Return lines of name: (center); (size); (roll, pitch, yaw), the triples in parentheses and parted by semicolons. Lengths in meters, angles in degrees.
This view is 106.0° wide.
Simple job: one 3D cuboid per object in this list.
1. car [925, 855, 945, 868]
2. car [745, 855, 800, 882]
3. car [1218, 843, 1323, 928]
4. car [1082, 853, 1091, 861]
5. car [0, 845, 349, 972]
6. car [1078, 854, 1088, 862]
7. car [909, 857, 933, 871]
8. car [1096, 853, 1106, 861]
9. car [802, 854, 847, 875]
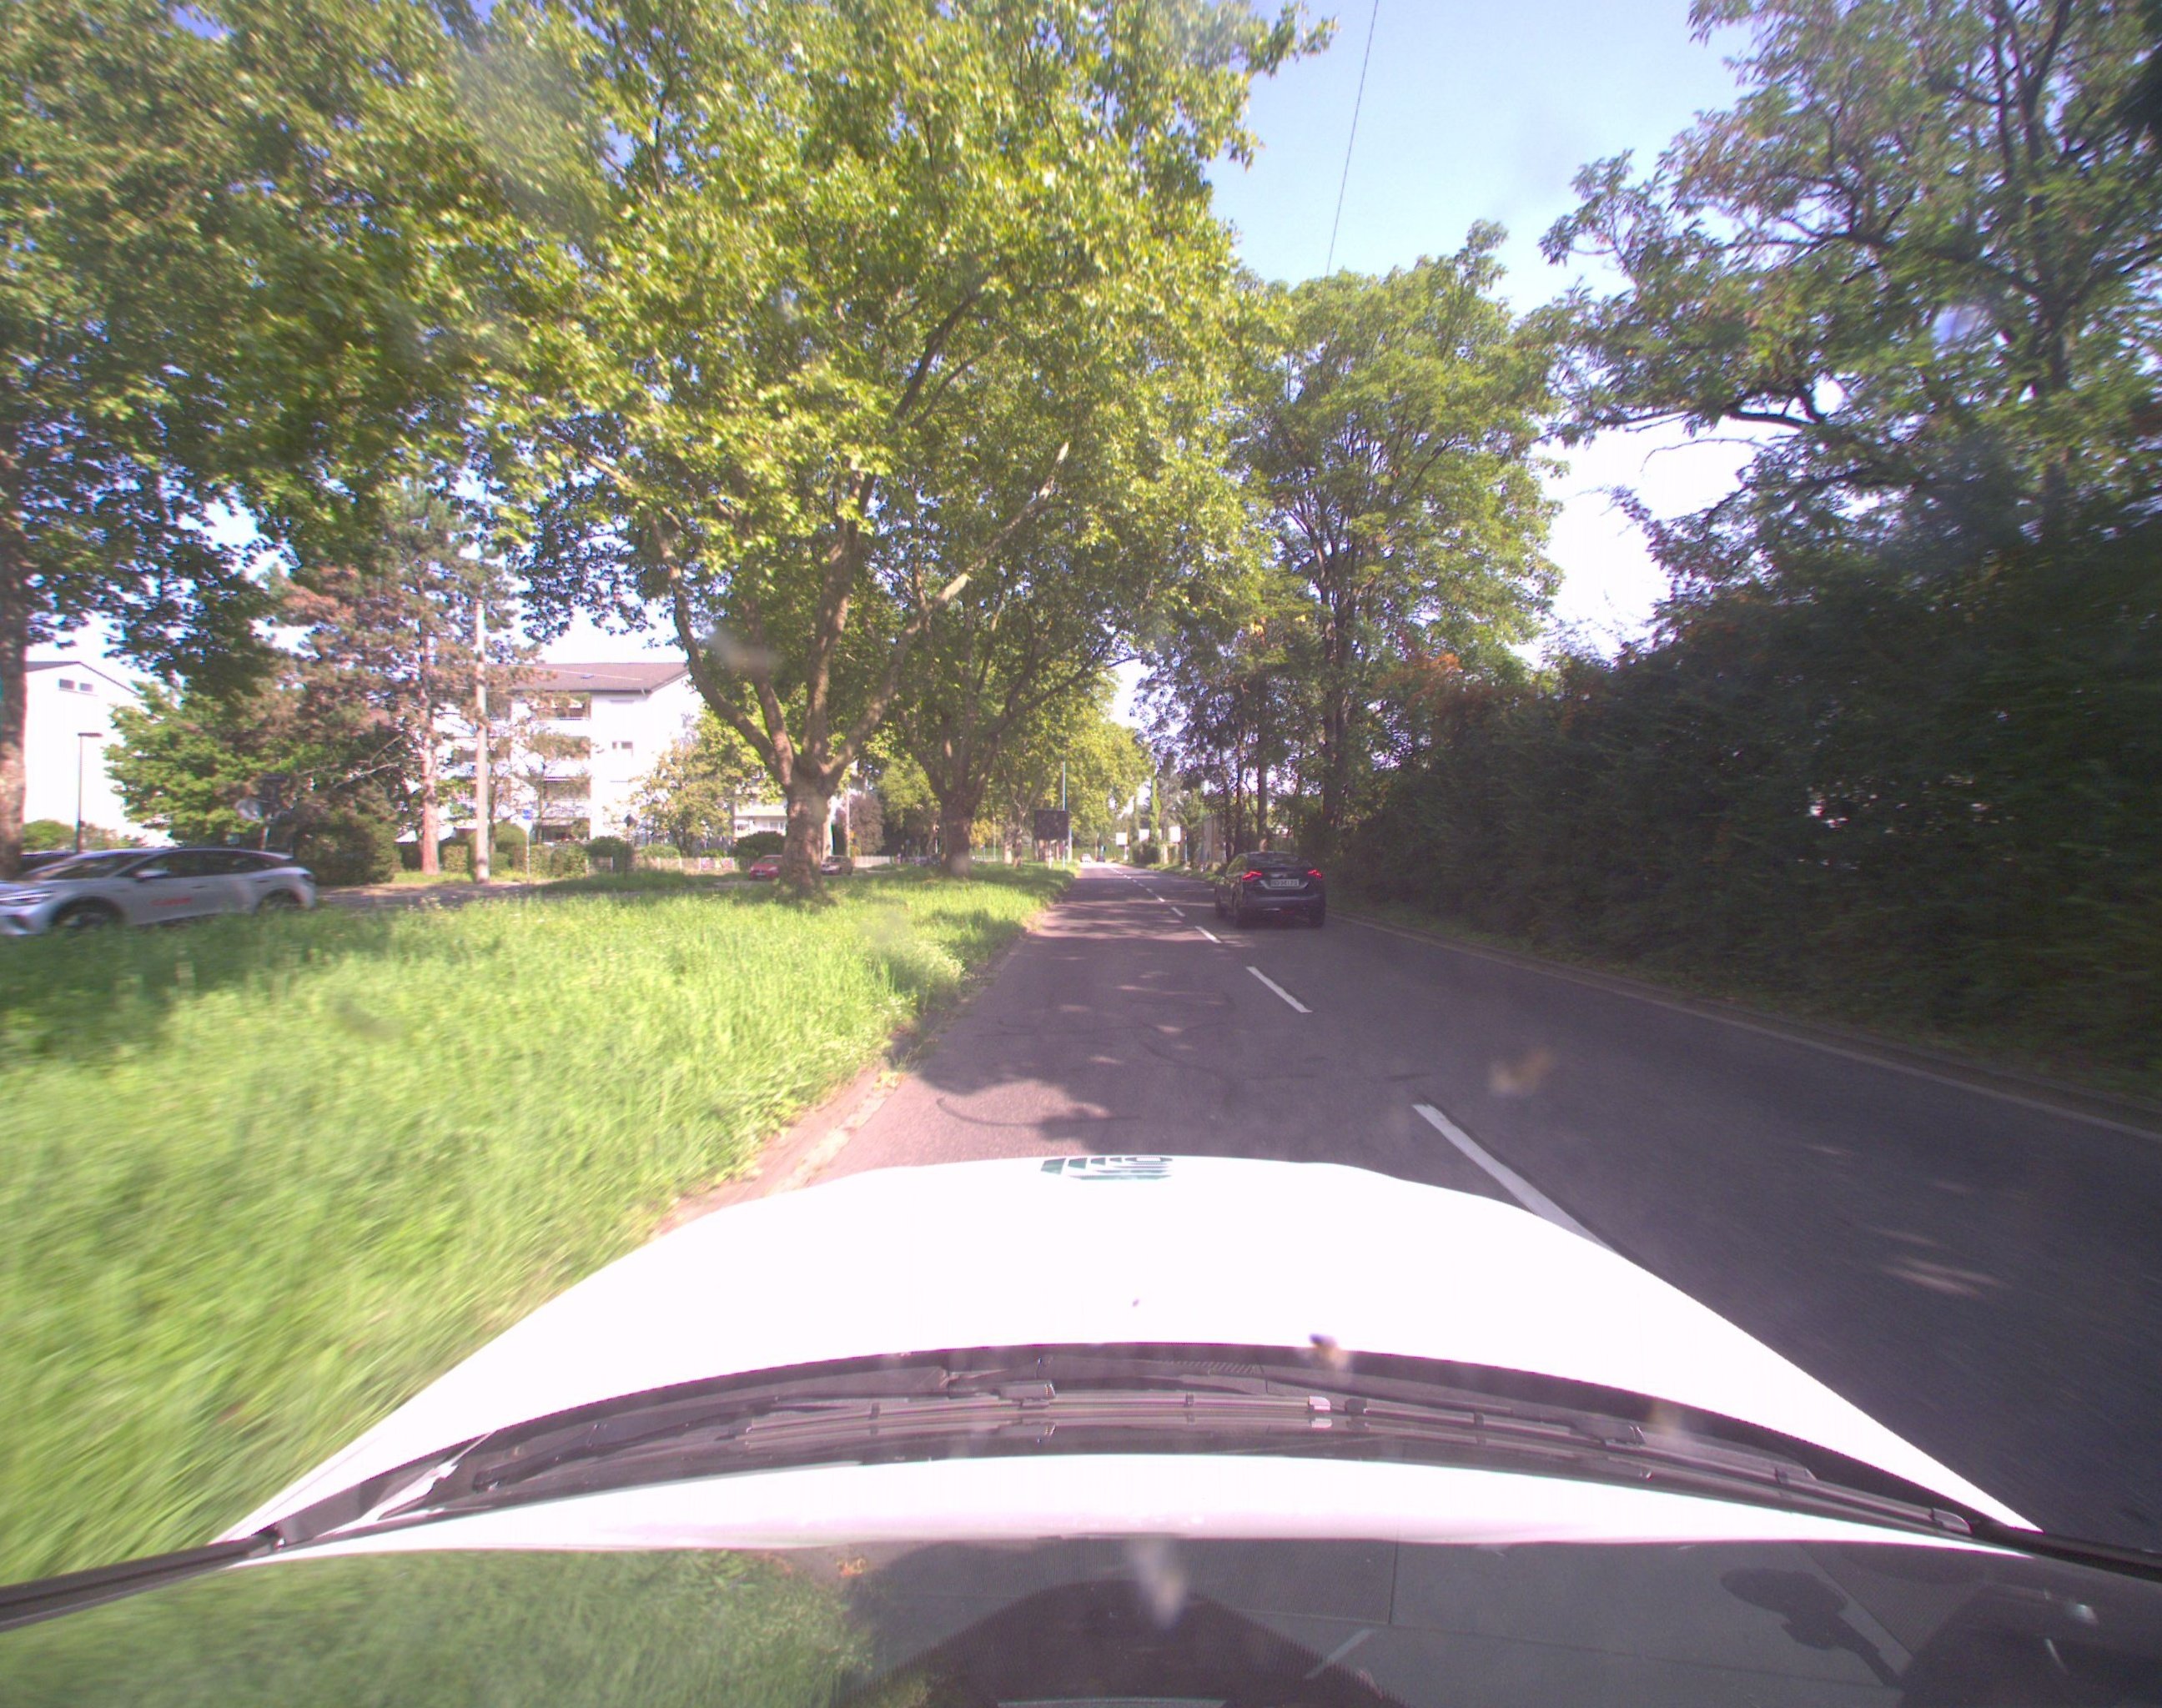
car: (-17.883, 0.916, 100.132); (1.693, 1.568, 4.000); (0, 0, 0)
car: (-17.686, 0.807, 46.862); (1.533, 1.451, 4.065); (0, 0, 2)
car: (3.968, 0.620, 17.651); (1.637, 1.588, 4.261); (-1, -1, 5)
car: (1.086, 0.614, 152.977); (1.681, 1.462, 4.000); (0, 0, 1)
car: (-15.200, 0.745, 13.470); (1.795, 1.719, 4.721); (-1, 0, 2)
car: (0.380, 0.762, 162.207); (1.680, 1.462, 3.854); (0, 0, 4)
car: (-17.993, 1.084, 91.746); (1.693, 1.508, 4.540); (0, 0, 0)
car: (3.926, 0.604, 162.665); (1.792, 1.401, 3.998); (0, 0, -1)
car: (-18.050, 0.694, 57.528); (1.795, 1.430, 4.066); (0, 0, 2)
